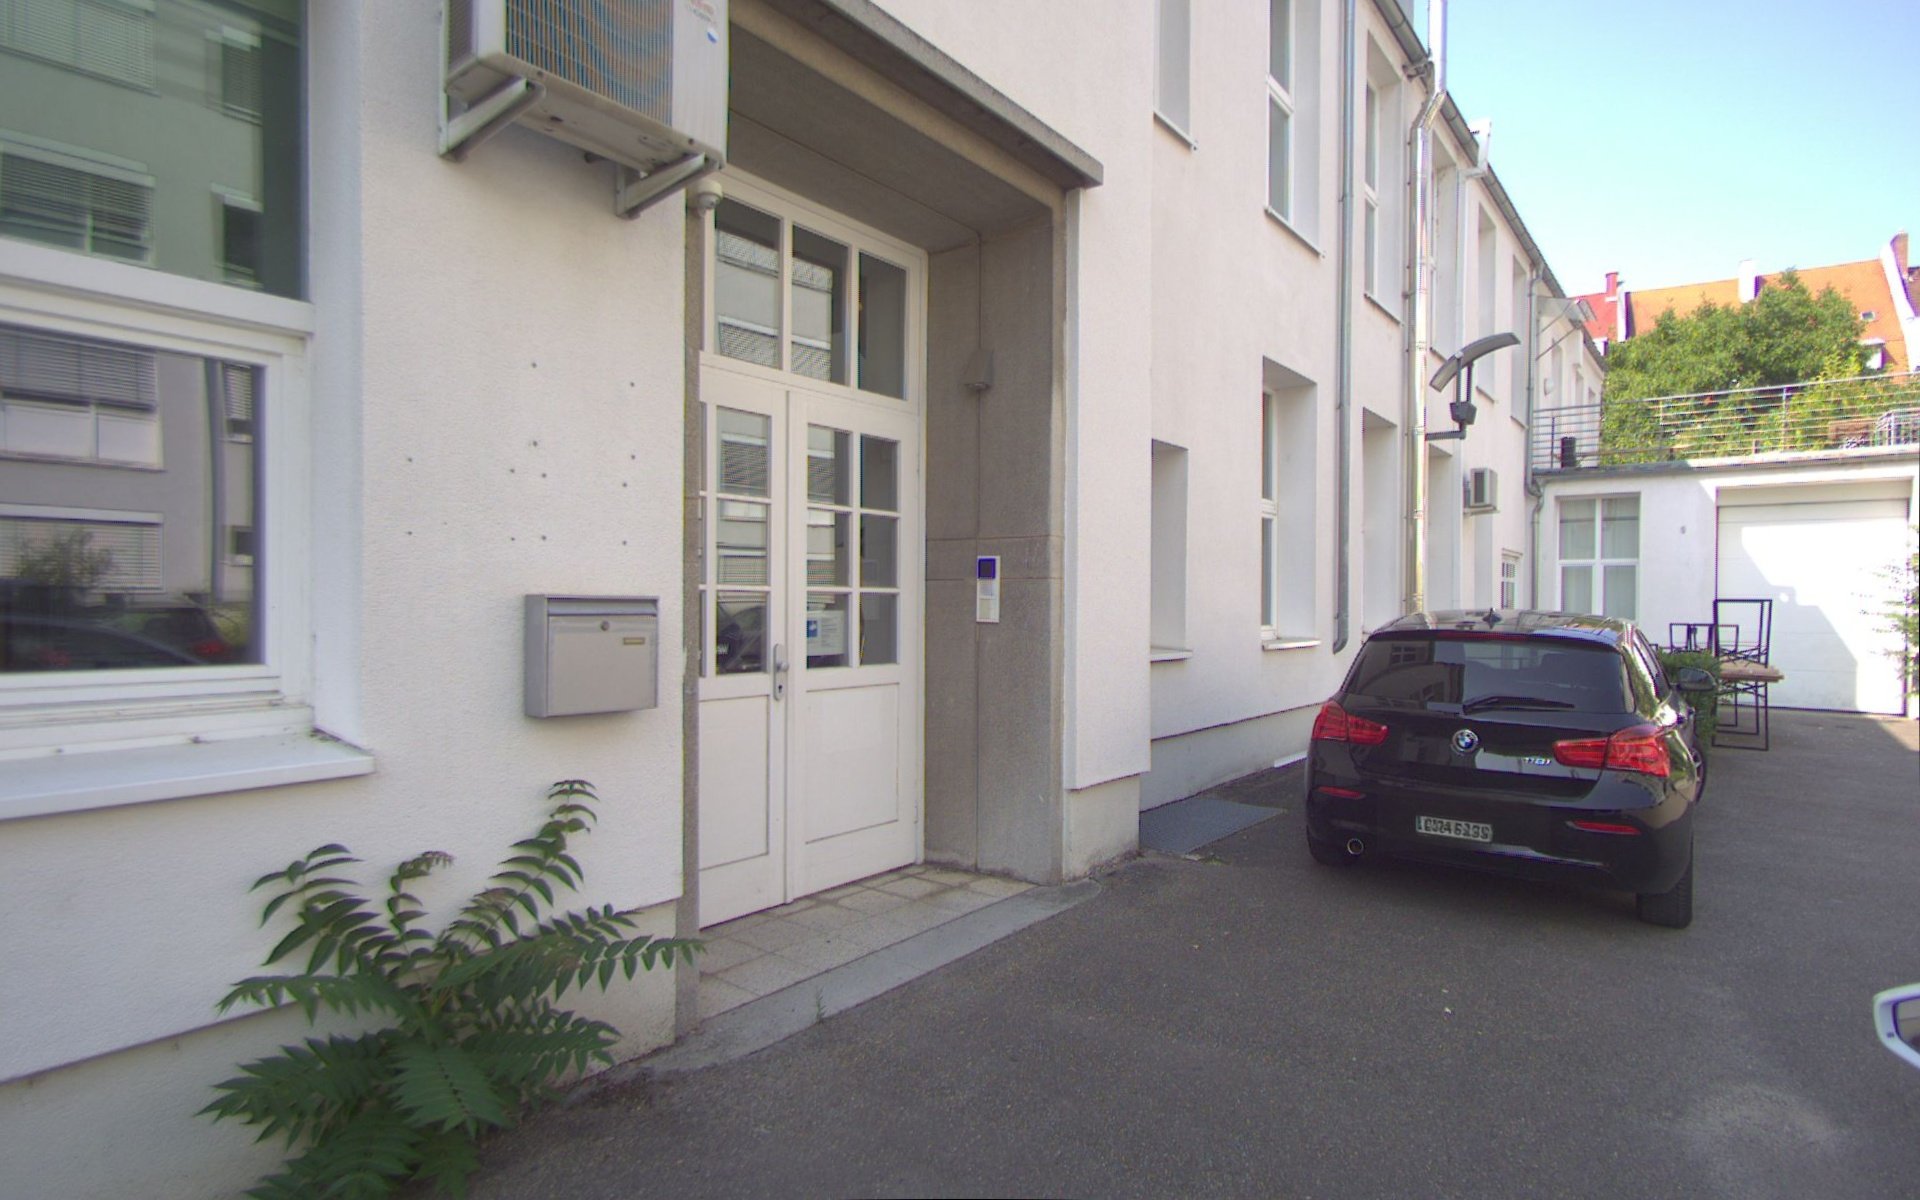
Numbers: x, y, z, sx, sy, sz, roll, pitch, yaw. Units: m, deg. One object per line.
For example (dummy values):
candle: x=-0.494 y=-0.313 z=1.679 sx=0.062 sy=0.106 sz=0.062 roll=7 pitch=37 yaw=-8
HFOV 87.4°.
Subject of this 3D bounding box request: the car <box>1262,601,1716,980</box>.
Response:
car: x=3.413 y=0.753 z=6.123 sx=1.769 sy=1.447 sz=4.122 roll=1 pitch=1 yaw=36
